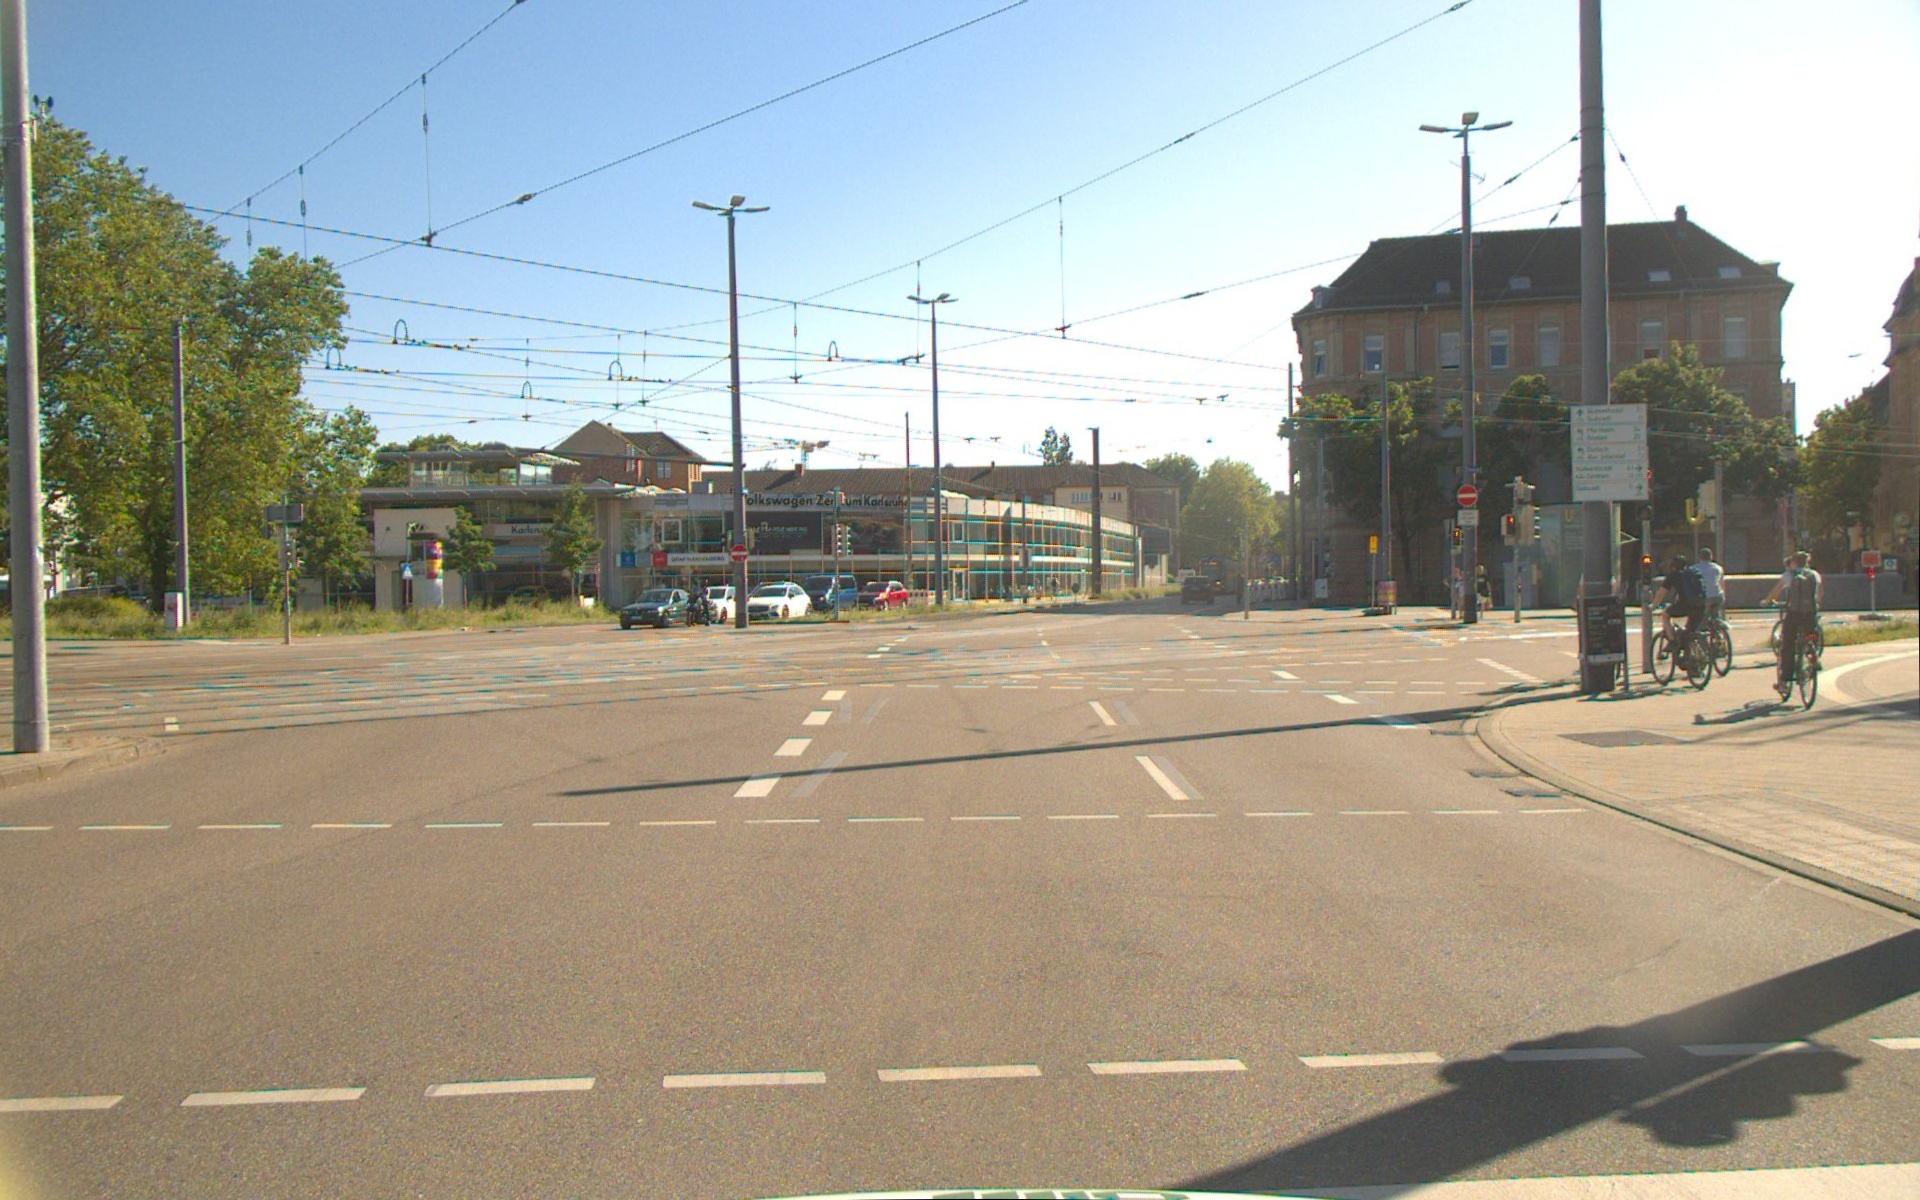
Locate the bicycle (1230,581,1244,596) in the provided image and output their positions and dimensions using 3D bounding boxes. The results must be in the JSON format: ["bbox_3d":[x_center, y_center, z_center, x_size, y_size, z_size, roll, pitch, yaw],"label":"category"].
[{"bbox_3d":[17.062,-0.715,101.712,0.727,0.885,1.933,-1,0,13],"label":"bicycle"}]

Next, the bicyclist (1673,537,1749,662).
[{"bbox_3d":[11.183,-0.016,24.653,0.731,1.809,0.925,-2,0,6],"label":"bicyclist"}]

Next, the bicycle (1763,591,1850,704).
[{"bbox_3d":[9.502,0.511,18.619,0.671,1.184,1.883,-2,0,22],"label":"bicycle"}]

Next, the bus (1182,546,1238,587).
[{"bbox_3d":[25.570,-3.233,167.849,3.755,3.670,24.886,1,0,13],"label":"bus"}]

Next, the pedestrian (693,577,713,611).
[{"bbox_3d":[-9.377,-0.213,60.314,0.413,1.225,0.750,-1,0,16],"label":"pedestrian"}]

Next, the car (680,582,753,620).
[{"bbox_3d":[-9.787,0.036,66.673,1.591,1.448,3.689,-1,1,14],"label":"car"}]

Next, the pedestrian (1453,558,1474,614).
[{"bbox_3d":[18.361,-0.518,60.330,0.564,2.049,0.449,-1,1,-19],"label":"pedestrian"}]

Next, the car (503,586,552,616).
[{"bbox_3d":[-25.974,0.037,99.475,1.926,1.735,4.083,-1,1,-1],"label":"car"}]

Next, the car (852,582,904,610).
[{"bbox_3d":[-4.245,-0.208,86.019,1.591,1.388,3.688,-1,1,16],"label":"car"}]

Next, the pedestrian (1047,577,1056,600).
[{"bbox_3d":[6.952,-0.857,125.703,0.531,1.718,0.630,-1,0,19],"label":"pedestrian"}]

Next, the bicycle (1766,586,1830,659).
[{"bbox_3d":[13.820,0.354,27.304,0.559,1.145,1.742,-1,1,14],"label":"bicycle"}]

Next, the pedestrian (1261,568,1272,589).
[{"bbox_3d":[22.719,-1.587,122.577,0.730,1.549,0.719,-1,0,14],"label":"pedestrian"}]

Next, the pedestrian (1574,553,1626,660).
[{"bbox_3d":[9.671,0.097,25.001,0.536,1.590,0.859,-1,0,8],"label":"pedestrian"}]

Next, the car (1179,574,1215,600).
[{"bbox_3d":[14.328,-0.781,99.814,1.663,1.529,4.268,-1,1,14],"label":"car"}]

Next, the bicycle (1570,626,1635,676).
[{"bbox_3d":[9.773,0.766,25.201,0.525,0.667,1.727,-4,0,9],"label":"bicycle"}]

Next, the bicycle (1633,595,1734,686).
[{"bbox_3d":[9.766,0.517,22.390,0.612,1.133,1.852,-3,0,4],"label":"bicycle"}]

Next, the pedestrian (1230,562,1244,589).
[{"bbox_3d":[17.104,-1.529,102.084,0.785,1.661,0.718,-1,-1,13],"label":"pedestrian"}]

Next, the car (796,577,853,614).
[{"bbox_3d":[-6.423,-0.243,78.859,1.591,1.722,3.689,-1,1,14],"label":"car"}]

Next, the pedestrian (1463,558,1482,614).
[{"bbox_3d":[18.893,-0.512,60.992,0.453,2.049,0.449,-1,1,-18],"label":"pedestrian"}]

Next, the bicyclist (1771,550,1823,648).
[{"bbox_3d":[13.832,-0.021,27.339,0.559,1.596,0.947,-1,0,14],"label":"bicyclist"}]

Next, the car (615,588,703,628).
[{"bbox_3d":[-11.010,0.263,60.700,1.667,1.378,3.703,-1,1,16],"label":"car"}]

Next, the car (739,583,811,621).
[{"bbox_3d":[-7.235,0.071,64.830,1.591,1.406,3.741,-1,1,14],"label":"car"}]

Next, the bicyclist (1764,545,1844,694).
[{"bbox_3d":[9.516,0.209,18.675,0.671,1.626,0.977,-2,0,22],"label":"bicyclist"}]

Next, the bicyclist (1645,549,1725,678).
[{"bbox_3d":[9.735,0.176,22.231,0.612,1.666,0.995,-3,0,4],"label":"bicyclist"}]

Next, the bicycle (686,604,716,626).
[{"bbox_3d":[-9.411,0.538,60.170,0.413,0.730,1.636,-1,1,16],"label":"bicycle"}]

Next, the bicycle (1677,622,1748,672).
[{"bbox_3d":[11.240,0.689,24.749,0.525,0.667,1.469,-2,1,6],"label":"bicycle"}]
